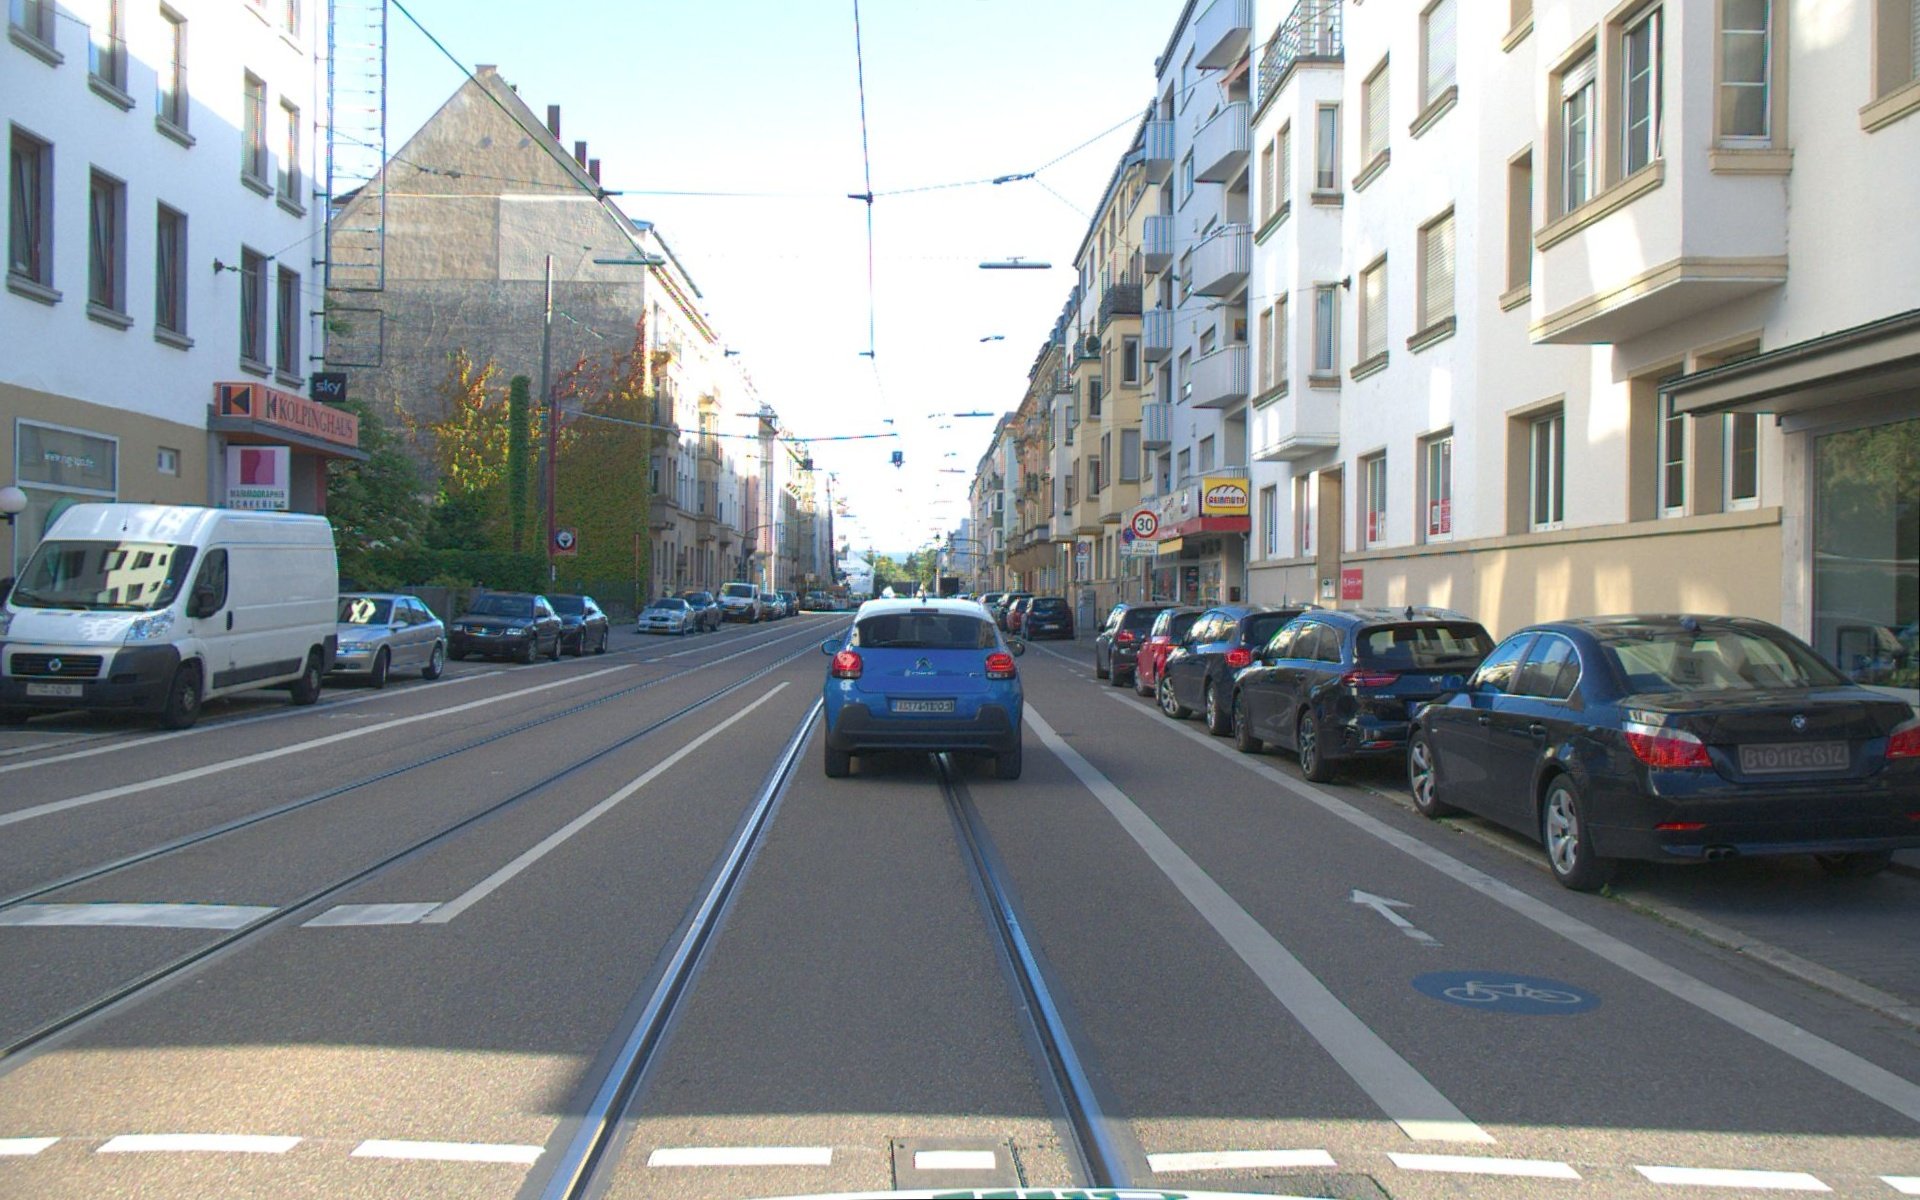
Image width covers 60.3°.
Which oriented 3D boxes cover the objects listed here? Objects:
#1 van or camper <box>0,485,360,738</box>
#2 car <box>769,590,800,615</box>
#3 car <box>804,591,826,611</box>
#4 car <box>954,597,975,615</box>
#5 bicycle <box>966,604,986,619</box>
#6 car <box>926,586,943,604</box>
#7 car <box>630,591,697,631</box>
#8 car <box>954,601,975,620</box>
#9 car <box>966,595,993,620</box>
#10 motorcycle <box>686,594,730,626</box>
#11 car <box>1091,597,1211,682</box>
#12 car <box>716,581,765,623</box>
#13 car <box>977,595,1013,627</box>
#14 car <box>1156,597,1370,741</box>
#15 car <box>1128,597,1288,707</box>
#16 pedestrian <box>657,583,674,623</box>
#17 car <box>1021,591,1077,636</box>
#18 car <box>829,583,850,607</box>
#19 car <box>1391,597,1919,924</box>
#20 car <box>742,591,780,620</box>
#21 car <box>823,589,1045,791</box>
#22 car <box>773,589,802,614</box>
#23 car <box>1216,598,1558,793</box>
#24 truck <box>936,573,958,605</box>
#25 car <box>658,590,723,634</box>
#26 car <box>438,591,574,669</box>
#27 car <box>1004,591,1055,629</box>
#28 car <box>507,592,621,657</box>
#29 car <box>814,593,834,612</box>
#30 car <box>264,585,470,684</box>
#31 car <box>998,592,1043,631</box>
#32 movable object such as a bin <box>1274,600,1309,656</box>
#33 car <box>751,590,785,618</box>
[{"bbox_3d":[-9.387,0.099,19.960,2.128,2.510,6.229,2,0,-2],"label":"van or camper"},{"bbox_3d":[-11.746,0.188,110.656,1.747,1.580,3.018,2,0,-2],"label":"car"},{"bbox_3d":[-12.785,0.066,145.790,1.748,1.720,4.664,2,0,-3],"label":"car"},{"bbox_3d":[0.399,0.517,151.447,1.747,1.603,4.325,0,0,-1],"label":"car"},{"bbox_3d":[1.359,0.974,142.670,1.688,1.174,0.469,-3,0,-1],"label":"bicycle"},{"bbox_3d":[-2.862,-0.537,184.947,1.784,1.927,3.999,1,0,-2],"label":"car"},{"bbox_3d":[-10.808,0.401,60.607,1.747,1.337,4.219,2,0,-2],"label":"car"},{"bbox_3d":[0.412,0.906,145.793,1.747,1.660,3.999,0,0,-1],"label":"car"},{"bbox_3d":[1.313,0.514,112.004,1.717,1.622,3.729,0,0,0],"label":"car"},{"bbox_3d":[-11.059,0.447,72.772,0.867,1.375,1.953,1,0,30],"label":"motorcycle"},{"bbox_3d":[3.488,0.684,30.942,1.675,1.432,4.358,-2,0,0],"label":"car"},{"bbox_3d":[-11.161,0.091,84.358,1.933,1.983,5.249,2,0,-3],"label":"car"},{"bbox_3d":[1.890,0.574,90.695,1.805,1.720,4.503,0,0,-1],"label":"car"},{"bbox_3d":[3.610,0.761,20.420,1.819,1.533,4.095,-2,0,0],"label":"car"},{"bbox_3d":[3.742,0.740,25.632,1.819,1.498,3.988,-2,0,0],"label":"car"},{"bbox_3d":[-13.247,0.141,74.420,0.666,1.754,0.616,1,0,-2],"label":"pedestrian"},{"bbox_3d":[3.148,0.470,59.311,1.683,1.517,4.001,-1,0,-1],"label":"car"},{"bbox_3d":[-13.169,-0.567,180.481,2.102,2.518,4.976,2,0,-4],"label":"car"},{"bbox_3d":[4.281,0.781,10.550,1.713,1.533,4.918,-2,0,0],"label":"car"},{"bbox_3d":[-11.299,0.285,94.181,1.747,1.550,4.358,2,0,-3],"label":"car"},{"bbox_3d":[-0.248,0.713,15.132,1.700,1.533,3.991,2,0,-1],"label":"car"},{"bbox_3d":[-11.944,0.119,114.800,1.748,1.634,4.394,2,0,-4],"label":"car"},{"bbox_3d":[3.879,0.783,15.900,1.821,1.533,4.503,-2,0,-4],"label":"car"},{"bbox_3d":[-1.683,-1.406,216.683,2.795,4.154,11.269,0,0,0],"label":"truck"},{"bbox_3d":[-10.740,0.459,66.120,1.746,1.592,4.610,2,0,0],"label":"car"},{"bbox_3d":[-9.725,0.601,35.800,1.747,1.507,4.698,2,0,-2],"label":"car"},{"bbox_3d":[2.810,0.409,67.709,1.821,1.481,4.709,0,0,0],"label":"car"},{"bbox_3d":[-9.953,0.573,41.900,1.747,1.471,4.840,2,0,-1],"label":"car"},{"bbox_3d":[-12.850,0.236,156.768,1.748,1.655,4.606,2,0,-3],"label":"car"},{"bbox_3d":[-9.619,0.521,27.227,1.747,1.423,4.444,2,0,0],"label":"car"},{"bbox_3d":[2.712,0.484,74.524,1.821,1.695,4.561,0,0,0],"label":"car"},{"bbox_3d":[6.483,0.548,32.339,0.547,1.075,0.554,1,0,-3],"label":"movable object such as a bin"},{"bbox_3d":[-11.533,0.249,99.647,1.737,1.574,4.363,2,0,-4],"label":"car"}]
